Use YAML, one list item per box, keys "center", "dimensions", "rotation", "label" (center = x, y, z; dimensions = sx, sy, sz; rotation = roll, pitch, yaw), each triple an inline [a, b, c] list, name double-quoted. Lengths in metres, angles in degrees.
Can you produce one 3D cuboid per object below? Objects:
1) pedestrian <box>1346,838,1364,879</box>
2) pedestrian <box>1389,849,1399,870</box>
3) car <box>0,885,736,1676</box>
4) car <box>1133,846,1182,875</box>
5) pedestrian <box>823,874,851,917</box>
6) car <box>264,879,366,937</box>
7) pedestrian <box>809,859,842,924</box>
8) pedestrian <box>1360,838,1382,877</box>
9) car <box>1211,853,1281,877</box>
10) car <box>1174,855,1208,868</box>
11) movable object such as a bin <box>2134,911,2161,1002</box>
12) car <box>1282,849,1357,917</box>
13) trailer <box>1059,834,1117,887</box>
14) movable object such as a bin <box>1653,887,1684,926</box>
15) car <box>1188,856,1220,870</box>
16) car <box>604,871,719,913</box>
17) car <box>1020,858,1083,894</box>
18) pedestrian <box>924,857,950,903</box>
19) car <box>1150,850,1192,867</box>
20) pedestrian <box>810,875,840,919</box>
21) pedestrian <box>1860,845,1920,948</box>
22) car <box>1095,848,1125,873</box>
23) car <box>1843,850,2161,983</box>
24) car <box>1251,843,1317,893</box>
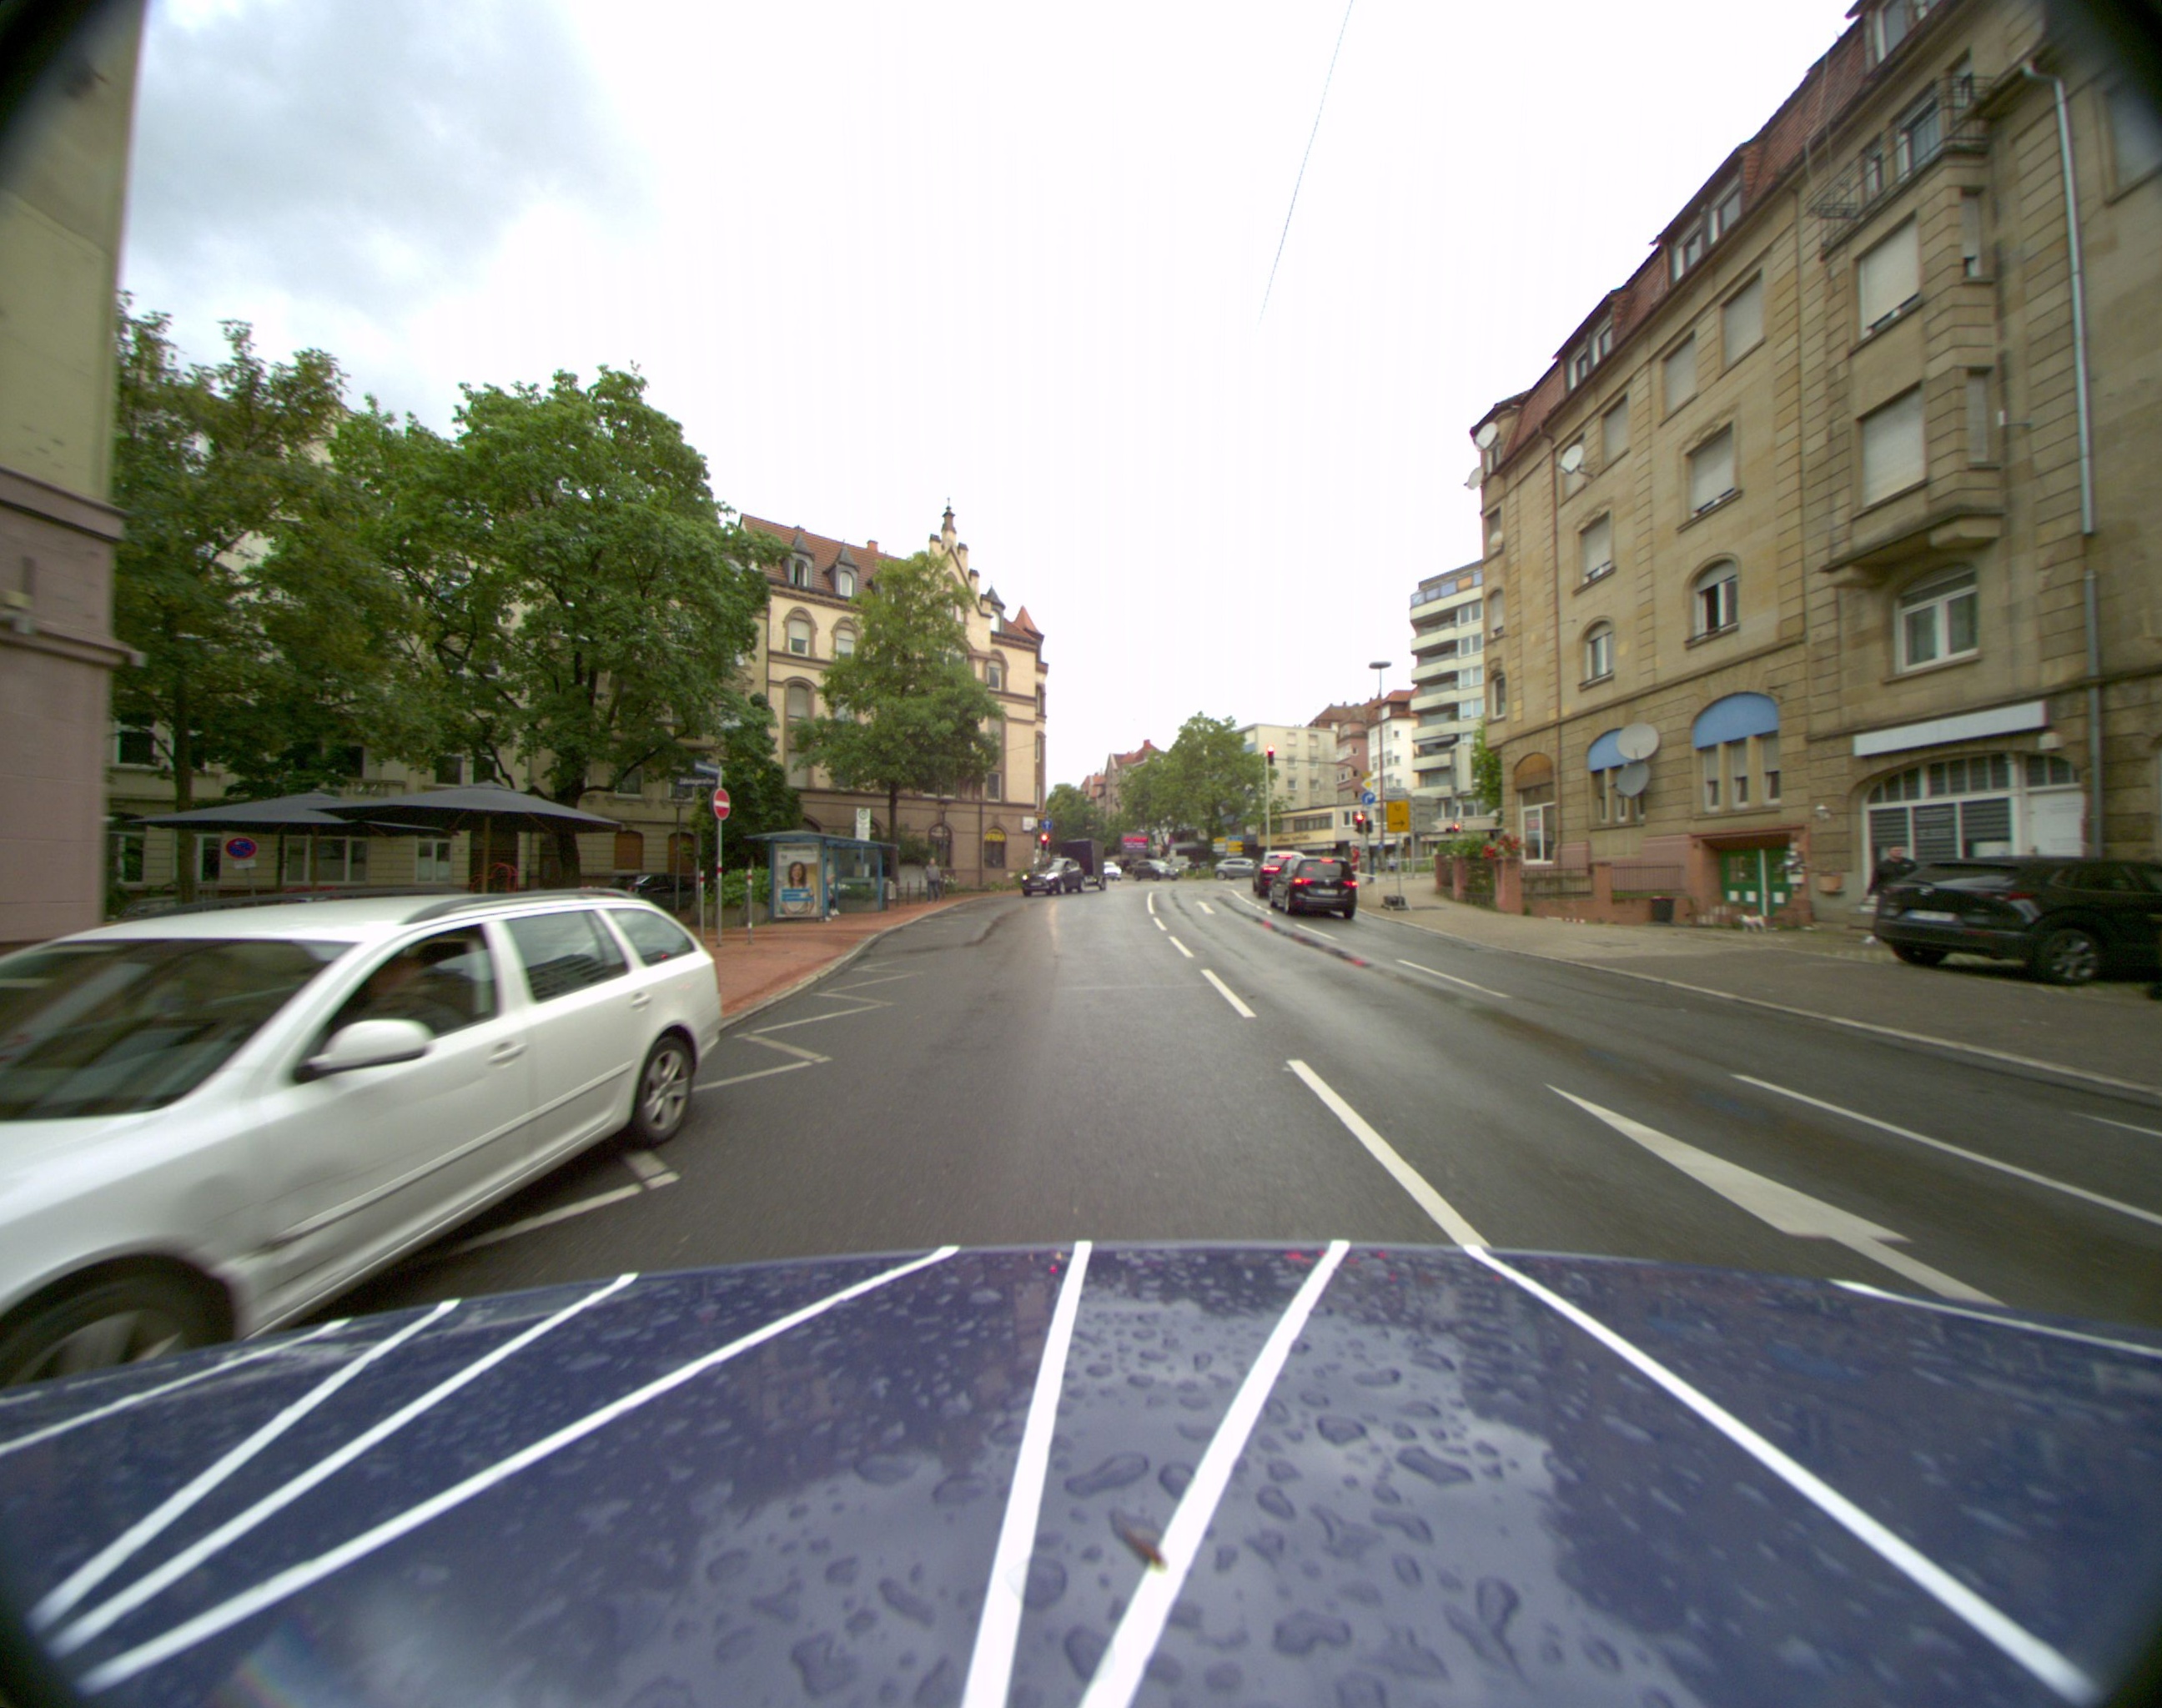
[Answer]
- center: [11.877, 0.187, 32.970]
  dimensions: [0.523, 1.763, 0.694]
  rotation: [-3, 0, 7]
  label: "pedestrian"
- center: [25.250, 0.409, 61.288]
  dimensions: [0.618, 1.683, 0.626]
  rotation: [0, 1, 36]
  label: "pedestrian"
- center: [-3.274, 1.033, 2.897]
  dimensions: [1.803, 1.555, 4.492]
  rotation: [-2, 0, 0]
  label: "car"
- center: [5.776, 0.483, 58.063]
  dimensions: [1.918, 2.002, 4.502]
  rotation: [-3, 1, -20]
  label: "car"
- center: [-7.456, 1.264, 23.265]
  dimensions: [0.570, 1.272, 0.535]
  rotation: [-3, 0, 12]
  label: "pedestrian"
- center: [-25.448, 1.725, 25.392]
  dimensions: [1.880, 1.520, 3.988]
  rotation: [-3, 3, -38]
  label: "car"
- center: [-7.145, 1.038, 21.245]
  dimensions: [0.559, 1.765, 0.546]
  rotation: [-2, 0, 29]
  label: "pedestrian"
- center: [13.017, 0.147, 34.173]
  dimensions: [0.638, 1.692, 0.829]
  rotation: [-3, 0, 3]
  label: "pedestrian"
- center: [11.099, 0.751, 51.195]
  dimensions: [4.169, 1.474, 1.761]
  rotation: [-2, 0, 35]
  label: "car"
- center: [13.141, 0.917, 90.608]
  dimensions: [3.711, 1.408, 1.808]
  rotation: [-3, 1, -33]
  label: "car"
- center: [11.765, 1.099, 8.071]
  dimensions: [0.506, 0.944, 0.441]
  rotation: [-2, 1, 6]
  label: "movable object such as a bin"
- center: [6.630, 0.726, 21.461]
  dimensions: [1.623, 1.639, 4.424]
  rotation: [2, 1, 13]
  label: "car"
- center: [0.444, 0.334, 40.347]
  dimensions: [1.936, 2.621, 4.689]
  rotation: [-2, 0, 15]
  label: "trailer"
- center: [15.112, 1.345, 19.540]
  dimensions: [0.476, 0.944, 0.417]
  rotation: [-2, 1, 6]
  label: "movable object such as a bin"
- center: [14.400, 1.031, 88.928]
  dimensions: [3.628, 1.408, 1.626]
  rotation: [-3, 1, -37]
  label: "car"
- center: [-17.312, 1.550, 31.580]
  dimensions: [1.768, 1.467, 3.856]
  rotation: [-3, 0, 23]
  label: "car"
- center: [-1.259, 0.954, 34.509]
  dimensions: [1.860, 1.503, 3.686]
  rotation: [0, 0, 15]
  label: "car"
- center: [-5.581, 1.007, 29.515]
  dimensions: [0.572, 1.723, 0.733]
  rotation: [-2, 0, 28]
  label: "pedestrian"
- center: [11.278, 0.571, 95.348]
  dimensions: [4.983, 1.966, 1.876]
  rotation: [-3, 1, -27]
  label: "car"
- center: [-7.619, 1.277, 22.634]
  dimensions: [0.570, 1.272, 0.619]
  rotation: [-3, 0, 12]
  label: "pedestrian"
- center: [14.354, 0.737, 13.491]
  dimensions: [0.479, 1.767, 0.564]
  rotation: [-2, 2, -21]
  label: "pedestrian"
- center: [2.514, 0.530, 66.768]
  dimensions: [1.916, 2.002, 4.452]
  rotation: [-2, 0, -7]
  label: "car"
- center: [13.011, 0.745, 9.937]
  dimensions: [4.157, 1.502, 1.873]
  rotation: [-1, 0, 1]
  label: "car"
- center: [7.724, 0.478, 29.312]
  dimensions: [1.968, 1.683, 4.810]
  rotation: [-1, 1, 9]
  label: "car"
